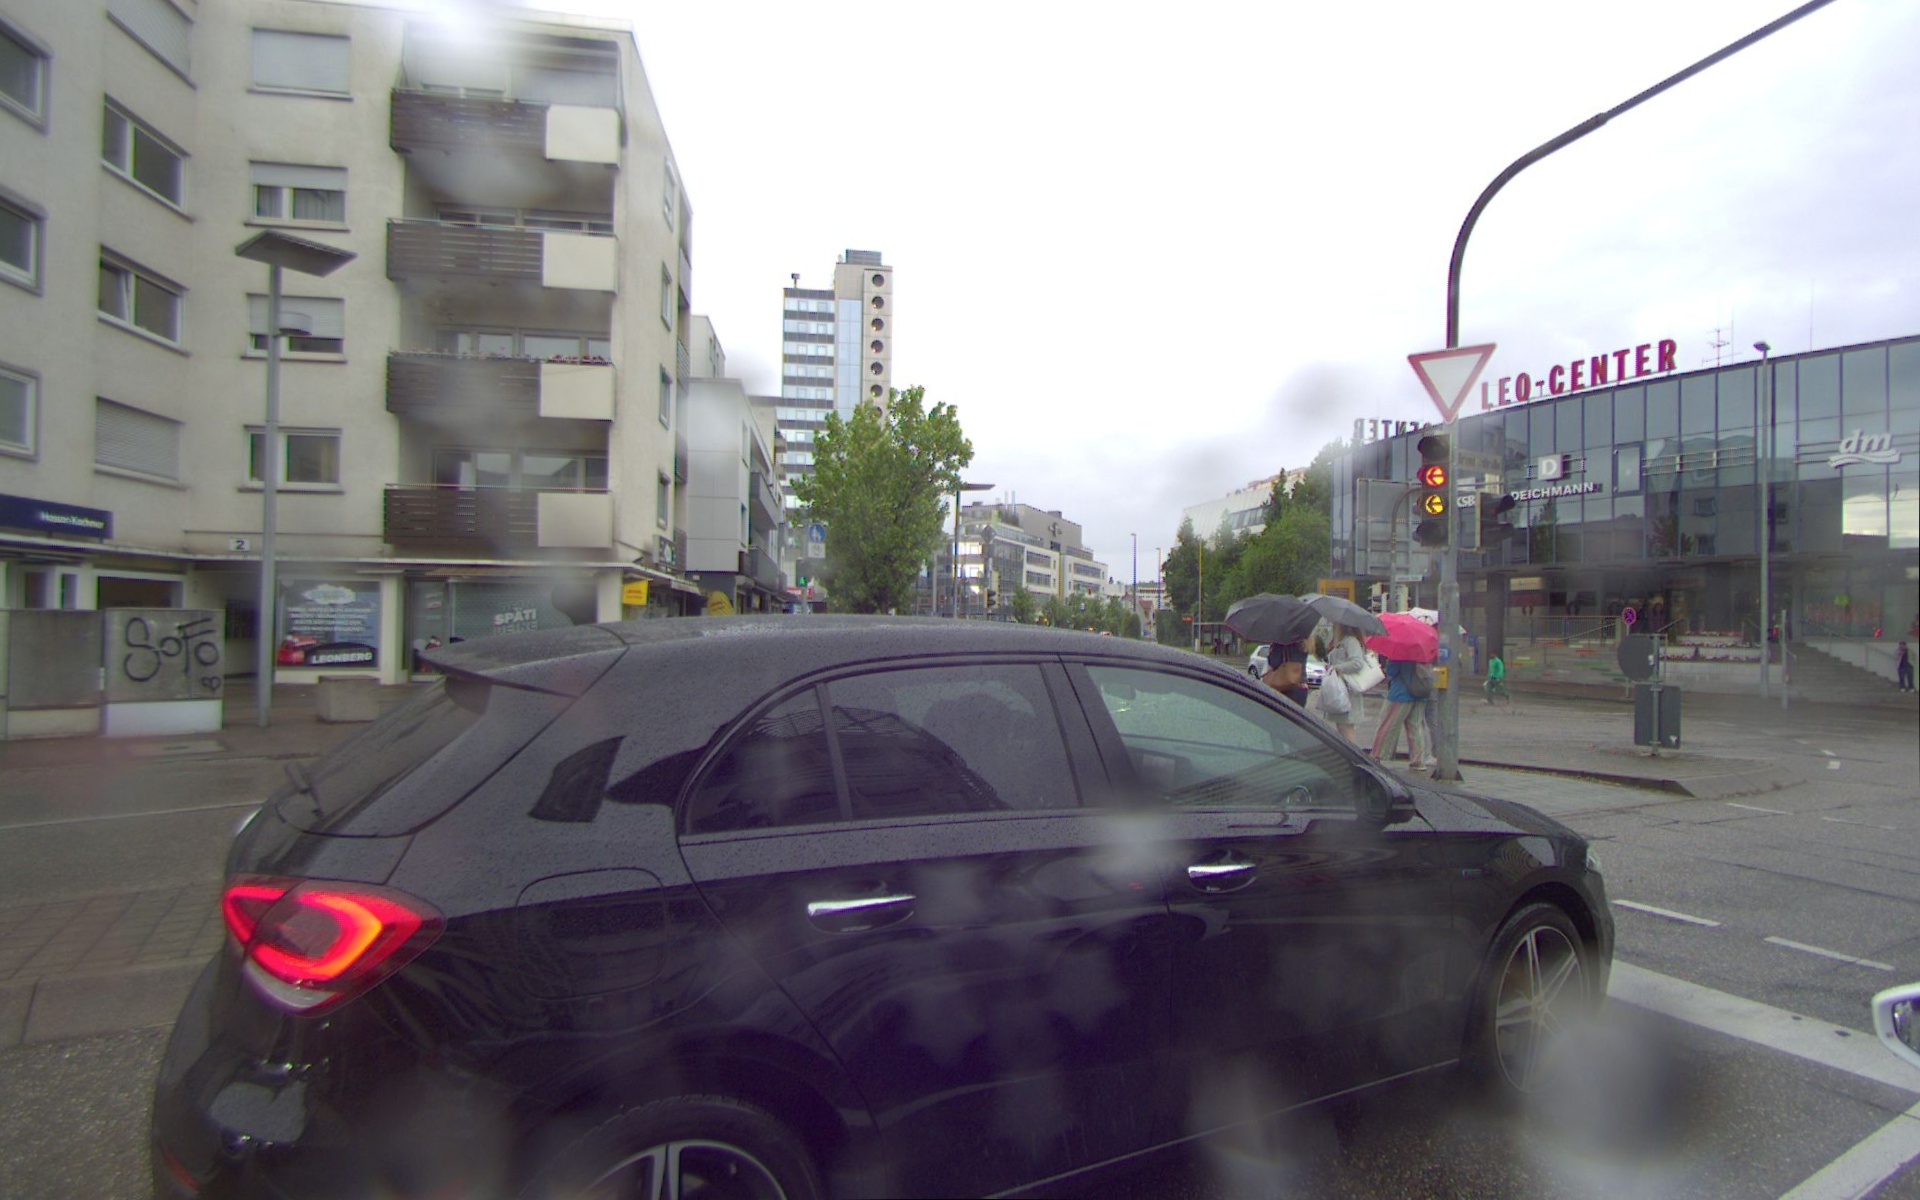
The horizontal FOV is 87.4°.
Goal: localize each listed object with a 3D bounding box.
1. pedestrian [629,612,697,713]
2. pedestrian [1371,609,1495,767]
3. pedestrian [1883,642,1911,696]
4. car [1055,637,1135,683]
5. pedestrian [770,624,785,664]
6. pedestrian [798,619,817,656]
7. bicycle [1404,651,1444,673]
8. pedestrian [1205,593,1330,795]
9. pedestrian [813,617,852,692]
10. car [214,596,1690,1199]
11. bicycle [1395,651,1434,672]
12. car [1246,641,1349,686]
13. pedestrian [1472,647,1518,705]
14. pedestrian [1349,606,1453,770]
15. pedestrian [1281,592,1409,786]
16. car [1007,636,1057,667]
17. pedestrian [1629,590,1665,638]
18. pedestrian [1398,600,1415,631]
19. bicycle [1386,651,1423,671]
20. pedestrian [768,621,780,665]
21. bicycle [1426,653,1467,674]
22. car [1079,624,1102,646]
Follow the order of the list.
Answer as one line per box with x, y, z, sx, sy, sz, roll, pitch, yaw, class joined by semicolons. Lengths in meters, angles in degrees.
-4.910;1.022;16.616;0.904;1.606;0.651;2;-2;-33;pedestrian
5.372;0.969;11.433;0.906;1.699;0.931;2;-2;-30;pedestrian
34.309;2.531;36.769;0.589;1.933;0.651;2;-1;-37;pedestrian
4.709;2.070;35.767;2.082;1.432;5.147;2;-2;0;car
-8.191;1.973;45.111;0.557;1.817;0.491;1;-2;-4;pedestrian
-7.779;1.897;51.172;0.859;1.835;0.923;1;-1;-10;pedestrian
24.074;3.222;52.141;1.822;1.056;0.646;-1;-1;-12;bicycle
2.884;0.840;9.387;0.937;1.759;0.835;0;-2;30;pedestrian
-2.929;1.253;23.159;0.799;1.677;0.714;1;-2;-3;pedestrian
0.337;0.780;3.068;4.048;1.501;1.654;1;1;-32;car
23.921;3.227;52.884;1.822;1.047;0.628;-1;-1;-12;bicycle
12.464;2.325;37.345;1.717;1.460;3.980;2;-1;-15;car
15.579;2.197;29.276;0.794;1.644;0.951;1;-2;-7;pedestrian
4.772;0.938;10.897;0.792;1.707;0.673;1;-2;-8;pedestrian
3.731;0.834;9.828;0.843;1.767;1.139;1;-2;3;pedestrian
3.374;2.397;47.439;1.414;1.314;3.770;2;-1;-11;car
29.916;0.616;43.733;0.937;2.040;0.829;2;0;-18;pedestrian
25.410;0.873;57.168;0.642;1.736;0.599;2;0;-6;pedestrian
23.691;3.254;53.549;1.821;0.964;0.535;-1;0;-8;bicycle
-7.583;1.757;40.966;0.441;1.746;0.499;1;-2;-12;pedestrian
24.470;3.186;50.536;1.822;1.036;0.631;0;-2;-12;bicycle
12.499;3.314;96.308;2.008;1.921;4.141;1;-1;6;car
